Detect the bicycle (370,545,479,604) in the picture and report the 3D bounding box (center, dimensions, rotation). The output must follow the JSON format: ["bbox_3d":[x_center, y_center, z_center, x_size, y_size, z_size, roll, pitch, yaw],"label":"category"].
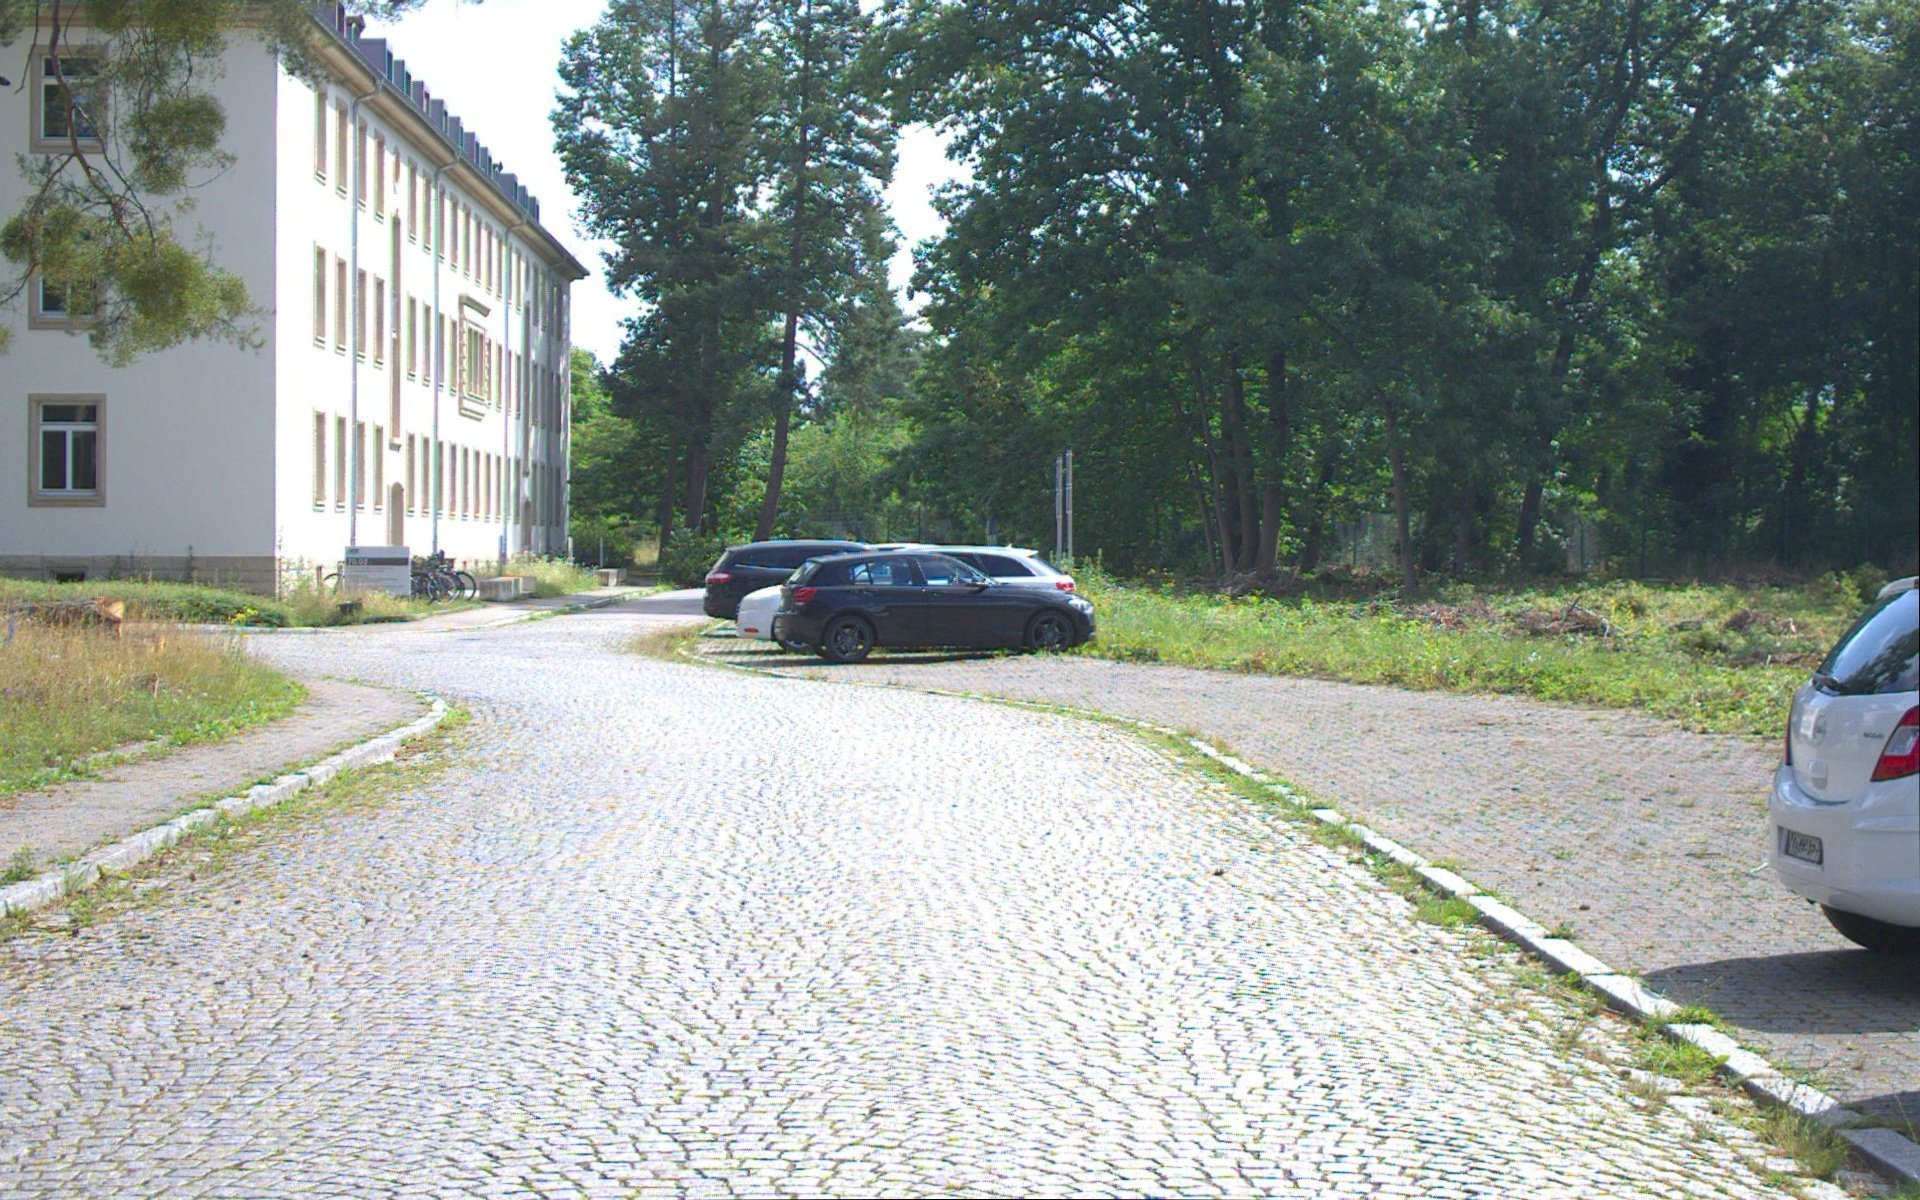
[{"bbox_3d":[-11.394,-0.545,73.169,2.222,1.256,0.623,0,1,1],"label":"bicycle"}]

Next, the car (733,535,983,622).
[{"bbox_3d":[-1.849,-0.385,61.630,4.398,1.479,1.766,-1,0,-3],"label":"car"}]

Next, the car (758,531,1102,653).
[{"bbox_3d":[-0.425,-0.126,45.814,4.323,1.495,1.830,-1,2,-10],"label":"car"}]

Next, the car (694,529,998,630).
[{"bbox_3d":[-1.879,-0.341,56.219,4.852,1.547,1.880,-1,0,-3],"label":"car"}]

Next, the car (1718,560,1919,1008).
[{"bbox_3d":[4.963,0.566,12.336,4.041,1.459,1.704,-1,1,-4],"label":"car"}]

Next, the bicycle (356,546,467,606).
[{"bbox_3d":[-11.507,-0.511,72.185,2.222,1.256,0.623,0,1,5],"label":"bicycle"}]

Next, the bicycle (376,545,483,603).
[{"bbox_3d":[-11.445,-0.560,74.177,2.222,1.256,0.623,0,1,1],"label":"bicycle"}]

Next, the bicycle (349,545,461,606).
[{"bbox_3d":[-11.506,-0.518,71.358,2.222,1.256,0.623,0,1,1],"label":"bicycle"}]

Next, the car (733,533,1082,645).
[{"bbox_3d":[-0.778,-0.170,48.989,4.861,1.467,1.875,-1,2,-3],"label":"car"}]

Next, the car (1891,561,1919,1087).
[{"bbox_3d":[4.768,0.614,9.267,3.986,1.501,1.747,-1,1,-4],"label":"car"}]
